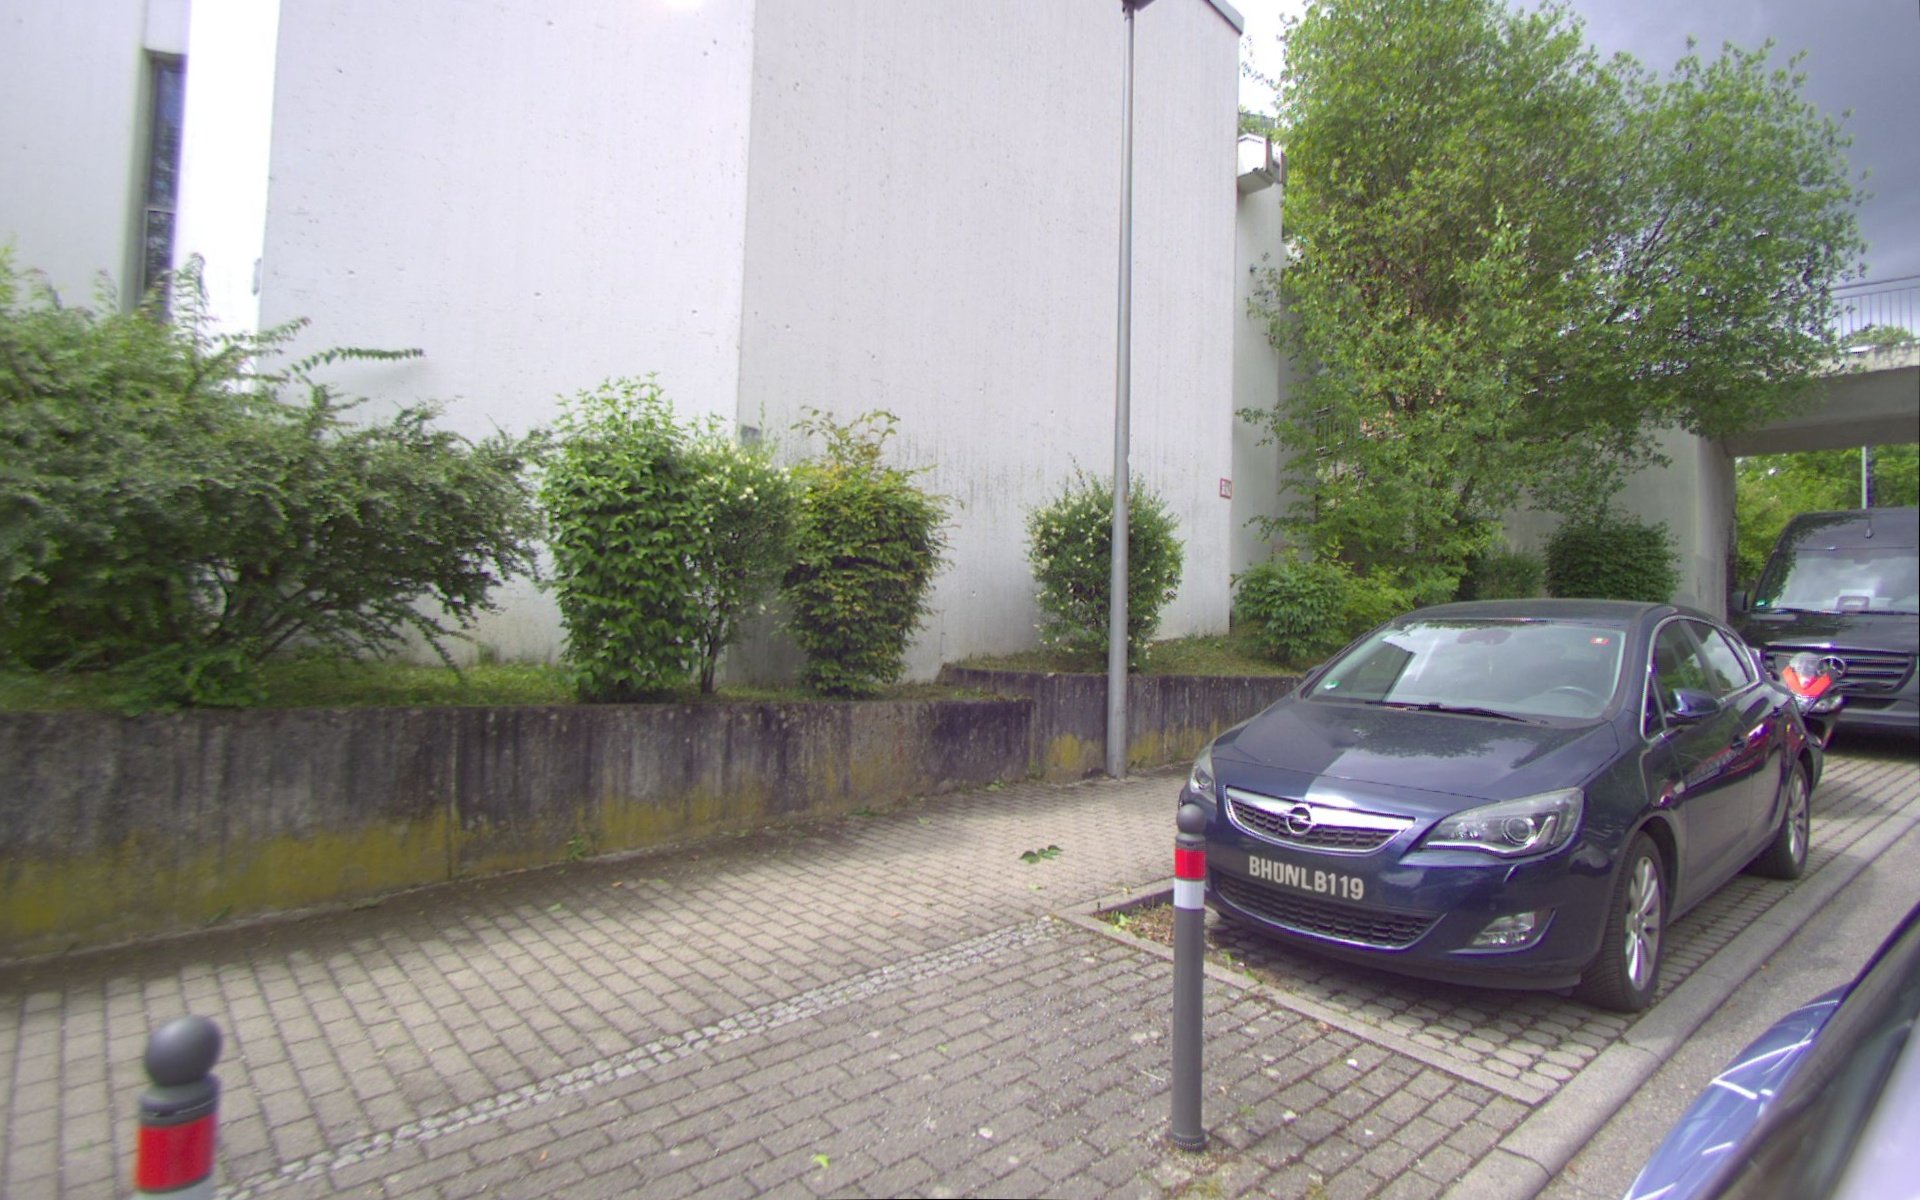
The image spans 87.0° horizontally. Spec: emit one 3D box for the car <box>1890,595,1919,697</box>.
[{"bbox_3d":[15.633,0.667,15.446,3.654,1.468,1.586,0,0,-38],"label":"car"}]

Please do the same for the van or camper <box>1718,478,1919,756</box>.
[{"bbox_3d":[10.637,0.132,11.405,5.654,2.527,1.998,0,0,-39],"label":"van or camper"}]

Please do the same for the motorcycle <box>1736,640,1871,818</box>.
[{"bbox_3d":[6.364,0.895,7.682,0.706,1.081,1.904,0,0,39],"label":"motorcycle"}]

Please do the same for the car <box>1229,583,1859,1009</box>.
[{"bbox_3d":[3.296,0.660,5.366,3.930,1.438,1.694,0,1,-41],"label":"car"}]
